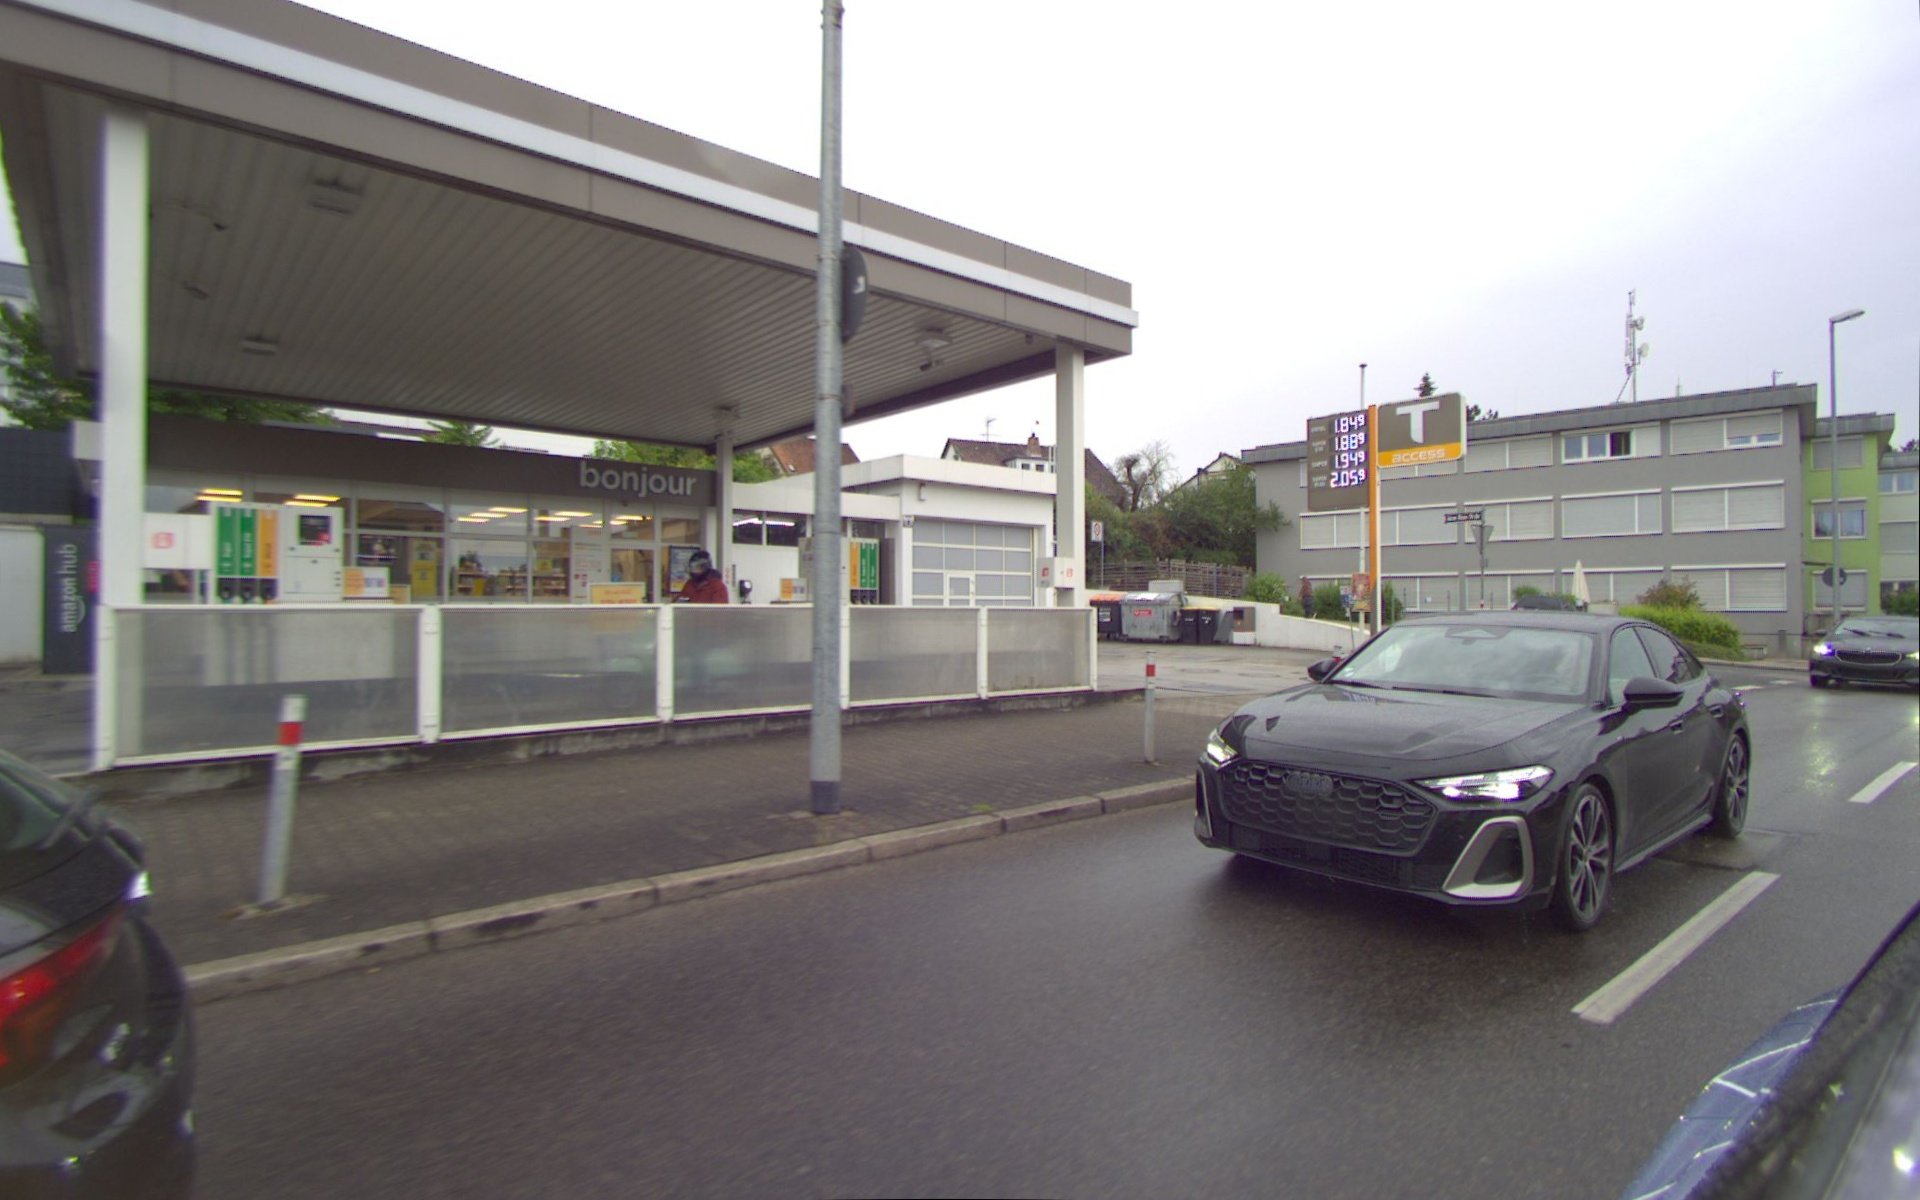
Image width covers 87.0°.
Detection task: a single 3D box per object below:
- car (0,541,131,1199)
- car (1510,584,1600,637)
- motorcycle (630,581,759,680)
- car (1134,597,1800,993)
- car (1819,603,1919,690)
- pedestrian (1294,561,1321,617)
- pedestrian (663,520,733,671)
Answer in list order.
[{"bbox_3d":[-3.088,0.683,0.665,3.929,1.468,1.759,-1,0,-40],"label":"car"},{"bbox_3d":[19.810,0.296,33.619,1.809,1.545,3.940,4,3,41],"label":"car"},{"bbox_3d":[-3.033,0.325,11.626,1.366,1.068,0.463,-1,0,-41],"label":"motorcycle"},{"bbox_3d":[3.267,0.722,6.007,4.655,1.442,1.870,-1,0,-40],"label":"car"},{"bbox_3d":[18.767,0.865,20.187,3.930,1.538,1.871,-1,0,-40],"label":"car"},{"bbox_3d":[12.661,-0.395,36.902,0.604,2.039,0.716,0,0,-43],"label":"pedestrian"},{"bbox_3d":[-3.014,-0.056,11.637,0.575,1.677,0.611,0,0,-40],"label":"pedestrian"}]
